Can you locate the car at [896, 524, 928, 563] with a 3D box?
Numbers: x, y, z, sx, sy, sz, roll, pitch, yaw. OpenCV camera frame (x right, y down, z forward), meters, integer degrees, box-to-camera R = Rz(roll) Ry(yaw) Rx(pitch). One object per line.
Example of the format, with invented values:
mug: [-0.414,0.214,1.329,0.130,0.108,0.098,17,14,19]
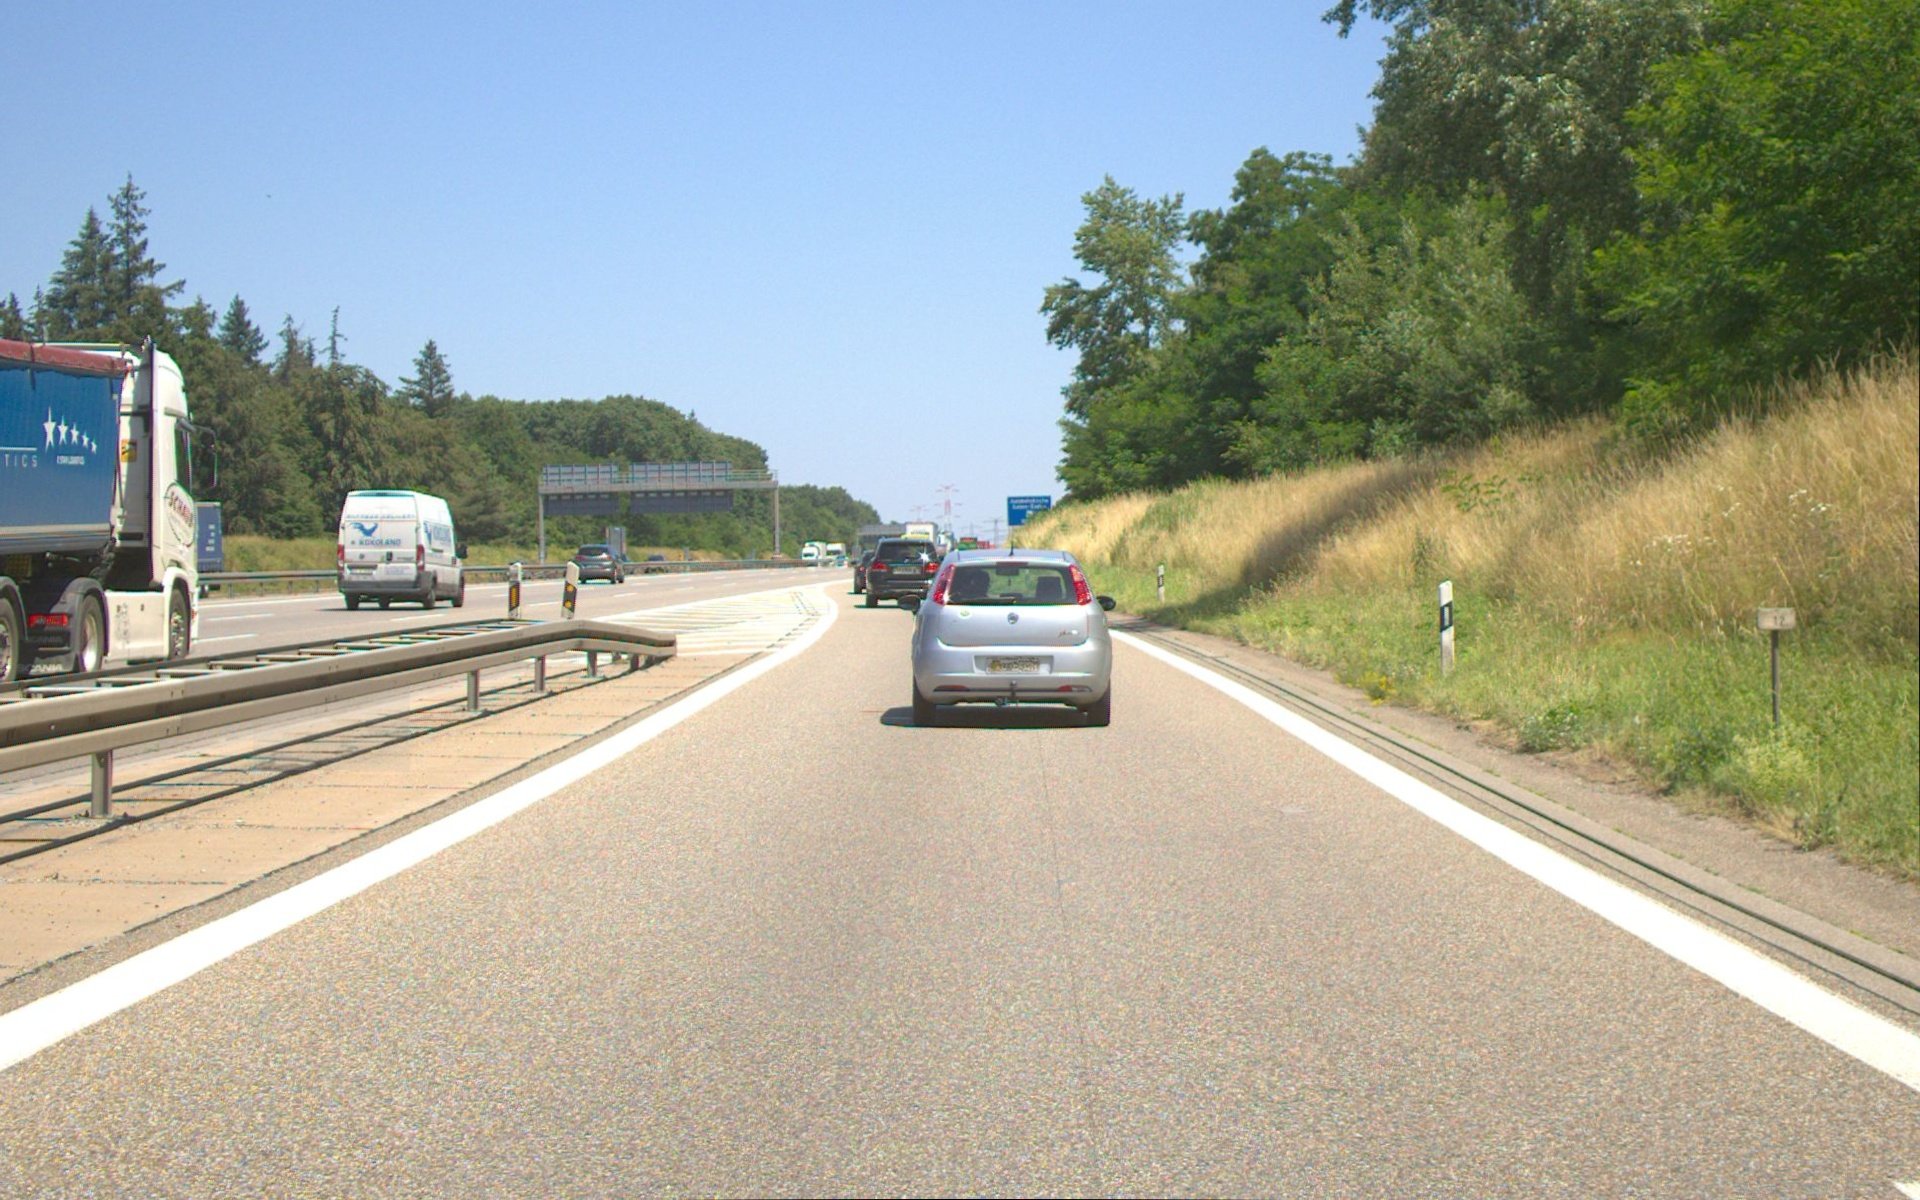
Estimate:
car: [-2.502,-2.935,179.921,1.611,2.007,4.000,1,1,-1]

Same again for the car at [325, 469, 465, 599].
car: [-13.393,-1.537,81.869,2.260,2.940,6.114,1,1,1]

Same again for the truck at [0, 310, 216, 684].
truck: [-10.114,-1.070,37.449,2.684,3.746,5.944,0,1,0]

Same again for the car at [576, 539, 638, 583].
car: [-14.862,-1.678,145.005,2.157,1.808,4.860,0,1,-1]

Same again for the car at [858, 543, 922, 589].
car: [-2.265,-1.109,112.486,1.894,1.464,4.261,1,1,1]

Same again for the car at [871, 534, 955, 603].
car: [-1.157,-0.785,86.399,1.832,1.666,4.000,1,0,3]

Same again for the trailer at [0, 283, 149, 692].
trailer: [-10.149,-1.042,32.478,2.737,3.746,9.109,0,1,0]

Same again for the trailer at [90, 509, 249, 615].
trailer: [-33.133,-1.588,144.771,3.203,4.158,13.984,-2,0,1]

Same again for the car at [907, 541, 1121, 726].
car: [0.417,0.238,29.765,1.719,1.486,3.737,0,1,-1]
